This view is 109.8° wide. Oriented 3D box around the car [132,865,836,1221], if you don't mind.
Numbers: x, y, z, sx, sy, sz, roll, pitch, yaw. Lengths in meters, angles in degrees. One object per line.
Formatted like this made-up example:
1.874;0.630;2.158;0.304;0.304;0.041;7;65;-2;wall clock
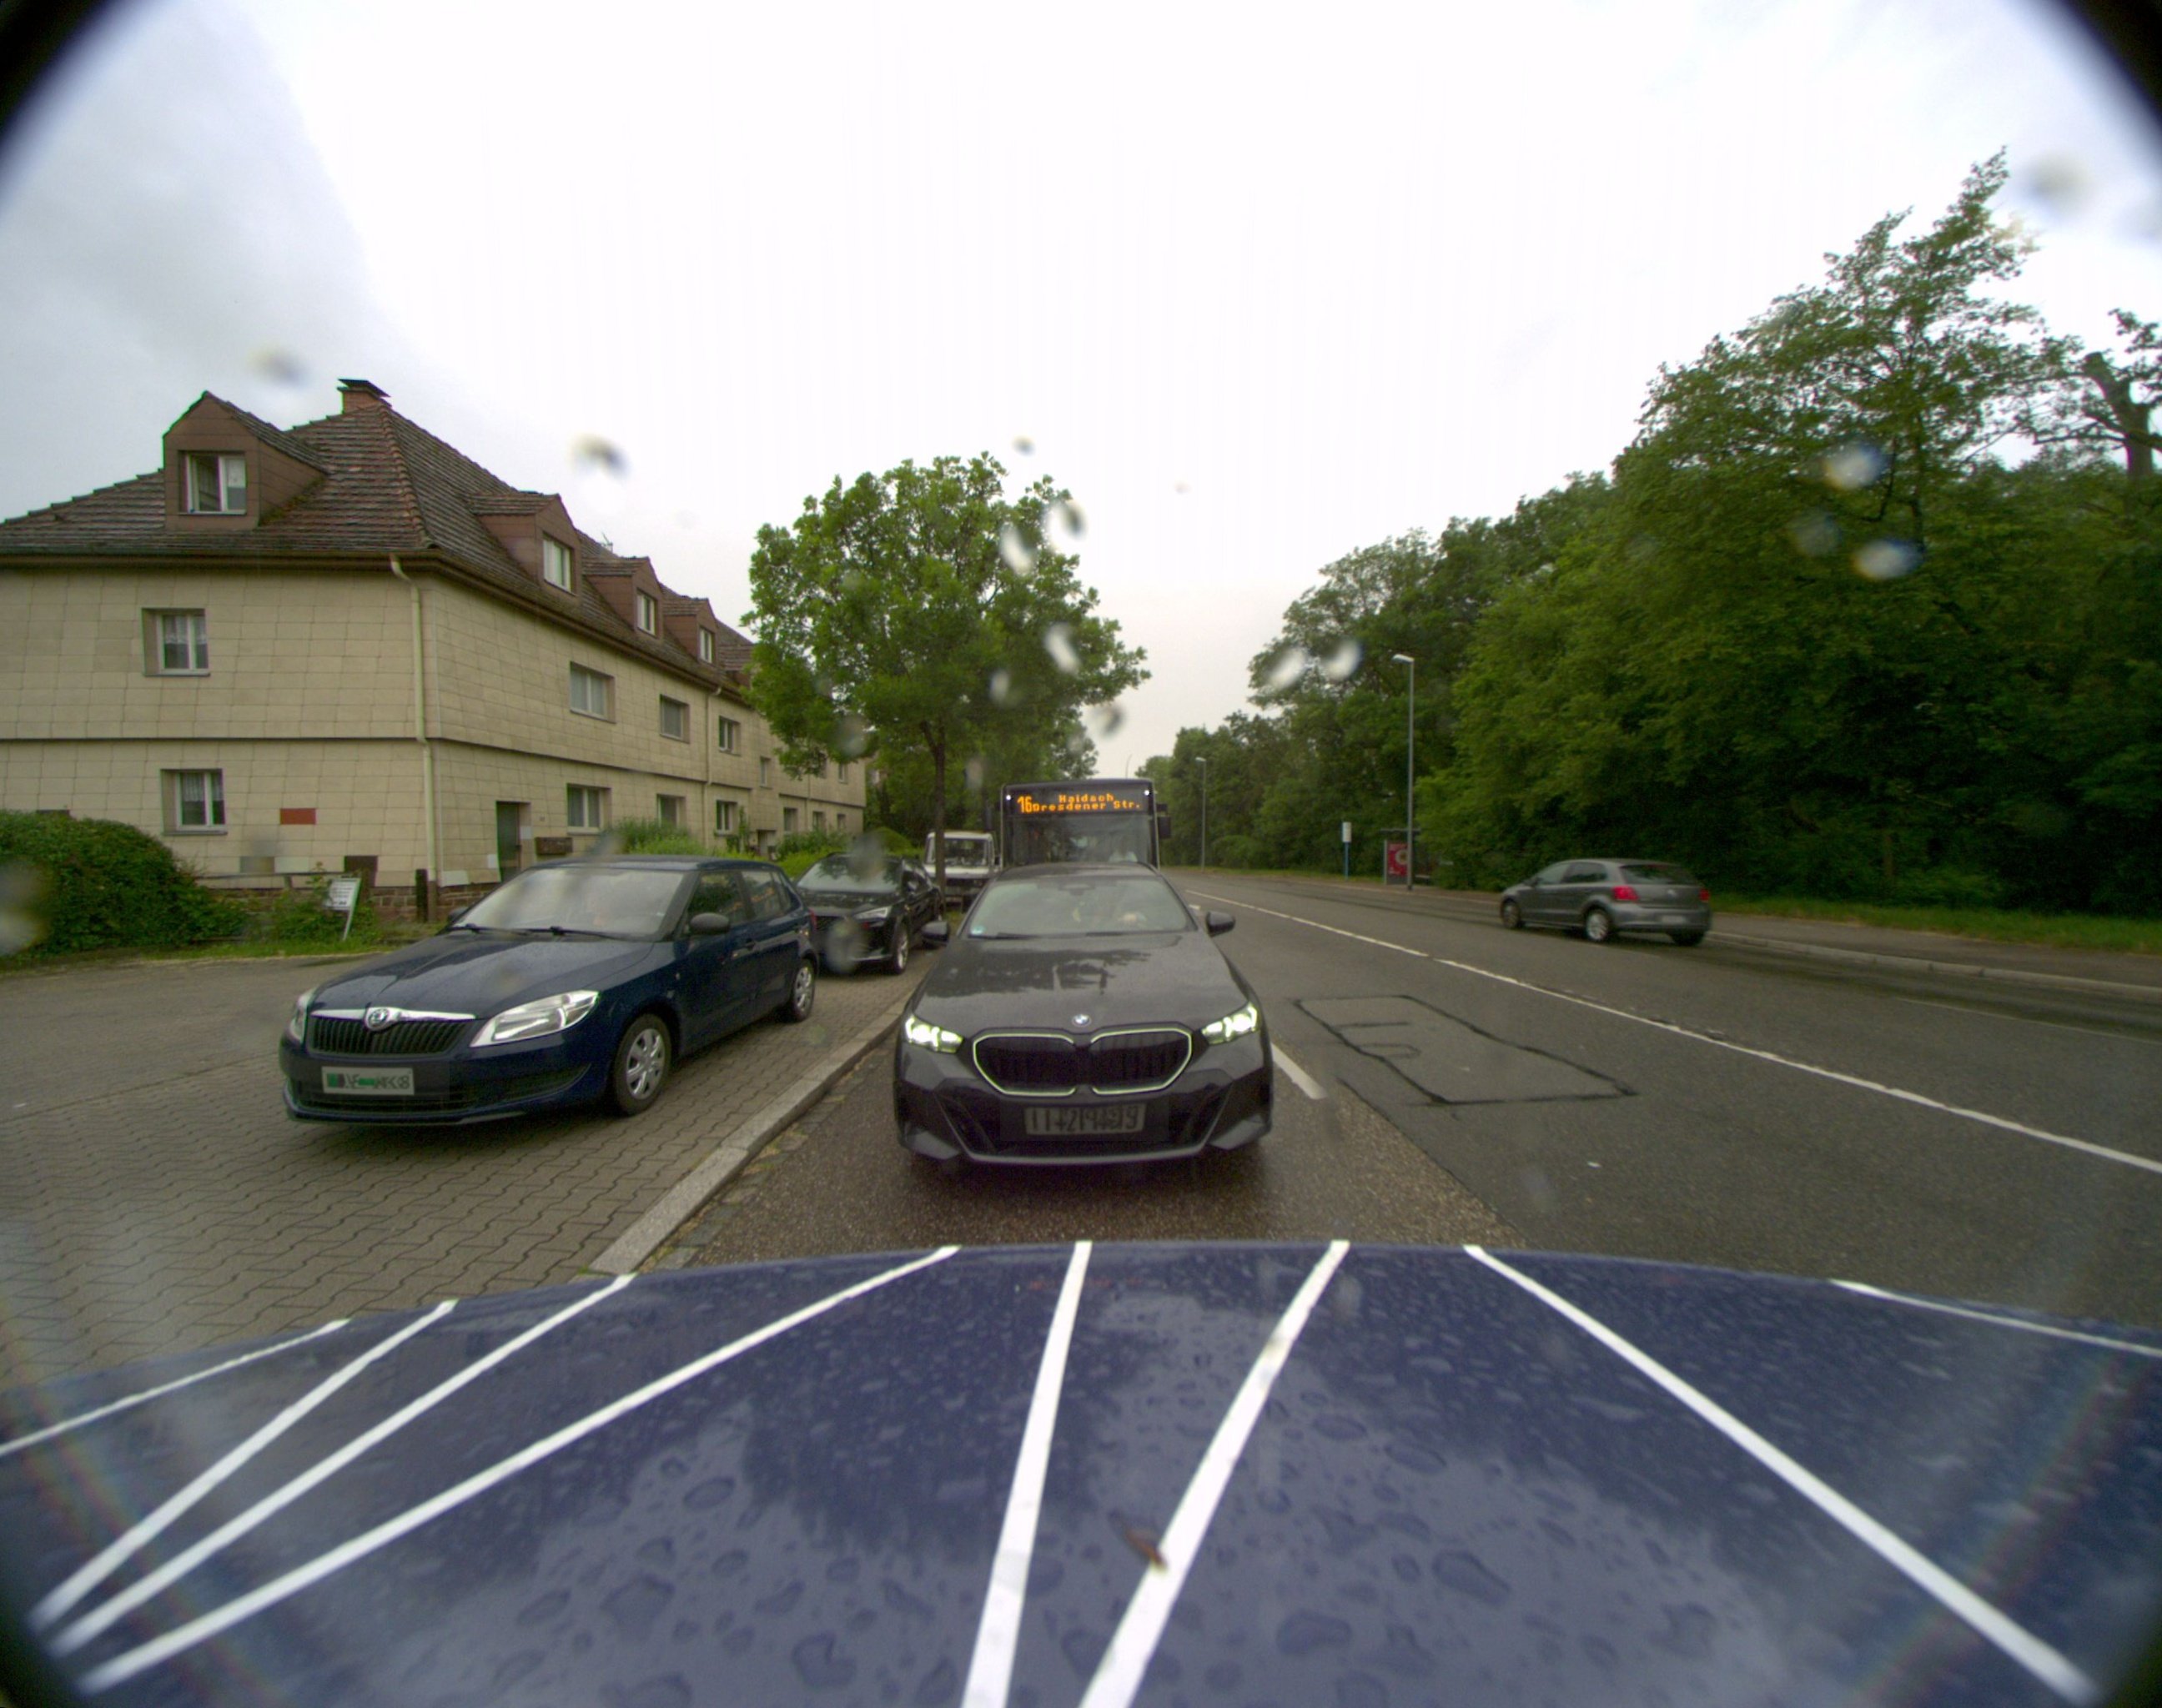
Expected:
-3.256;0.853;5.312;1.720;1.416;3.999;1;1;1;car

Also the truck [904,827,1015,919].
-3.126;0.458;20.869;1.998;2.184;5.756;0;0;2;truck

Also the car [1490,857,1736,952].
9.278;0.792;13.696;1.598;1.420;3.905;1;0;-1;car

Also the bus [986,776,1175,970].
0.114;0.243;16.257;2.767;2.858;9.403;-2;1;2;bus

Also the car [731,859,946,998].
-3.069;0.847;10.499;1.720;1.455;3.999;1;1;-1;car

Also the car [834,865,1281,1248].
-0.075;0.922;5.487;1.882;1.520;4.316;-3;0;1;car
